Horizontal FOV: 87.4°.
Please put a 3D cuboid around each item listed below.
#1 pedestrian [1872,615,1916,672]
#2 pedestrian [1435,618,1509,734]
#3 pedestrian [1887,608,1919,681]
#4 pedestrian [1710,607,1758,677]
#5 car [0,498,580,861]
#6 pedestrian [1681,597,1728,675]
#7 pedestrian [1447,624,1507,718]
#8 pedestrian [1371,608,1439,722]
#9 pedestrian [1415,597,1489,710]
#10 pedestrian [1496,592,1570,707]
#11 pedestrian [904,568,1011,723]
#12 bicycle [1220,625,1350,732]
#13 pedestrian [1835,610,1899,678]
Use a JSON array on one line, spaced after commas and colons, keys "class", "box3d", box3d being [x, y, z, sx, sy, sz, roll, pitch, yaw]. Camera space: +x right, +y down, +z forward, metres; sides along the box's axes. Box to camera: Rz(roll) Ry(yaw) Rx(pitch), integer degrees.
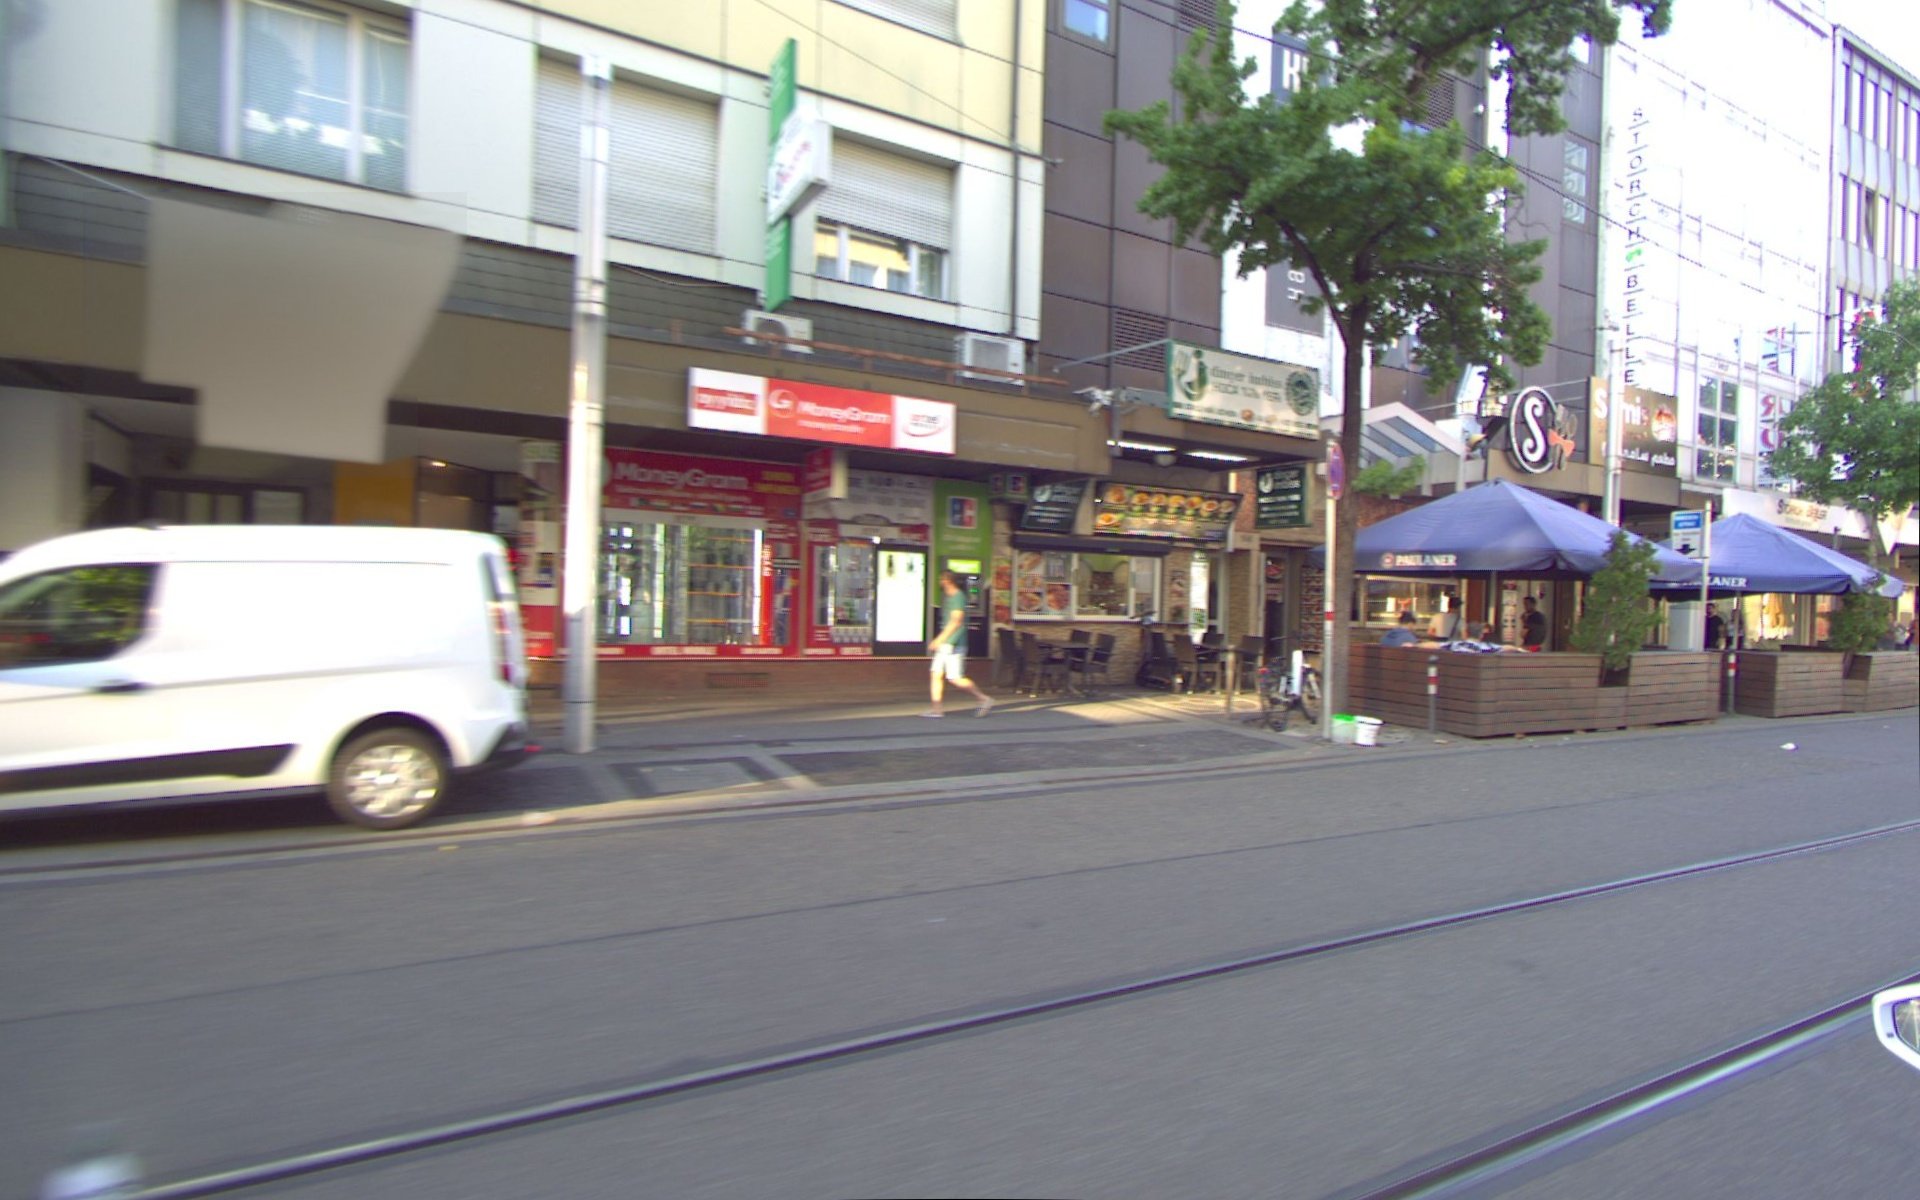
[{"class": "pedestrian", "box3d": [26.072, 1.207, 28.043, 0.799, 1.546, 0.619, 1, 2, -29]}, {"class": "pedestrian", "box3d": [6.338, 0.919, 12.439, 0.576, 1.374, 0.547, 1, 1, -30]}, {"class": "pedestrian", "box3d": [23.876, 1.117, 24.952, 0.820, 1.764, 0.851, 2, 1, -9]}, {"class": "pedestrian", "box3d": [17.614, 0.951, 22.864, 0.663, 1.553, 0.594, 1, 2, -28]}, {"class": "car", "box3d": [-4.893, 0.385, 6.272, 4.497, 1.890, 1.788, 1, 2, -29]}, {"class": "pedestrian", "box3d": [17.325, 0.837, 23.373, 0.663, 1.768, 0.594, 1, 2, -28]}, {"class": "pedestrian", "box3d": [7.115, 0.965, 13.834, 0.529, 1.244, 0.492, 1, 1, -30]}, {"class": "pedestrian", "box3d": [5.892, 0.846, 13.306, 0.576, 1.448, 0.547, 1, 1, -30]}, {"class": "pedestrian", "box3d": [7.395, 0.785, 15.094, 0.711, 1.628, 0.670, 1, 1, -30]}, {"class": "pedestrian", "box3d": [9.014, 0.760, 15.810, 0.667, 1.748, 0.714, 1, 1, -30]}, {"class": "pedestrian", "box3d": [-0.028, 0.512, 11.661, 0.993, 1.708, 0.663, 1, 2, -30]}, {"class": "bicycle", "box3d": [4.106, 0.930, 12.581, 0.690, 1.136, 2.074, 5, 3, 43]}, {"class": "pedestrian", "box3d": [23.047, 1.111, 25.530, 0.748, 1.660, 0.850, 2, 1, -9]}]
